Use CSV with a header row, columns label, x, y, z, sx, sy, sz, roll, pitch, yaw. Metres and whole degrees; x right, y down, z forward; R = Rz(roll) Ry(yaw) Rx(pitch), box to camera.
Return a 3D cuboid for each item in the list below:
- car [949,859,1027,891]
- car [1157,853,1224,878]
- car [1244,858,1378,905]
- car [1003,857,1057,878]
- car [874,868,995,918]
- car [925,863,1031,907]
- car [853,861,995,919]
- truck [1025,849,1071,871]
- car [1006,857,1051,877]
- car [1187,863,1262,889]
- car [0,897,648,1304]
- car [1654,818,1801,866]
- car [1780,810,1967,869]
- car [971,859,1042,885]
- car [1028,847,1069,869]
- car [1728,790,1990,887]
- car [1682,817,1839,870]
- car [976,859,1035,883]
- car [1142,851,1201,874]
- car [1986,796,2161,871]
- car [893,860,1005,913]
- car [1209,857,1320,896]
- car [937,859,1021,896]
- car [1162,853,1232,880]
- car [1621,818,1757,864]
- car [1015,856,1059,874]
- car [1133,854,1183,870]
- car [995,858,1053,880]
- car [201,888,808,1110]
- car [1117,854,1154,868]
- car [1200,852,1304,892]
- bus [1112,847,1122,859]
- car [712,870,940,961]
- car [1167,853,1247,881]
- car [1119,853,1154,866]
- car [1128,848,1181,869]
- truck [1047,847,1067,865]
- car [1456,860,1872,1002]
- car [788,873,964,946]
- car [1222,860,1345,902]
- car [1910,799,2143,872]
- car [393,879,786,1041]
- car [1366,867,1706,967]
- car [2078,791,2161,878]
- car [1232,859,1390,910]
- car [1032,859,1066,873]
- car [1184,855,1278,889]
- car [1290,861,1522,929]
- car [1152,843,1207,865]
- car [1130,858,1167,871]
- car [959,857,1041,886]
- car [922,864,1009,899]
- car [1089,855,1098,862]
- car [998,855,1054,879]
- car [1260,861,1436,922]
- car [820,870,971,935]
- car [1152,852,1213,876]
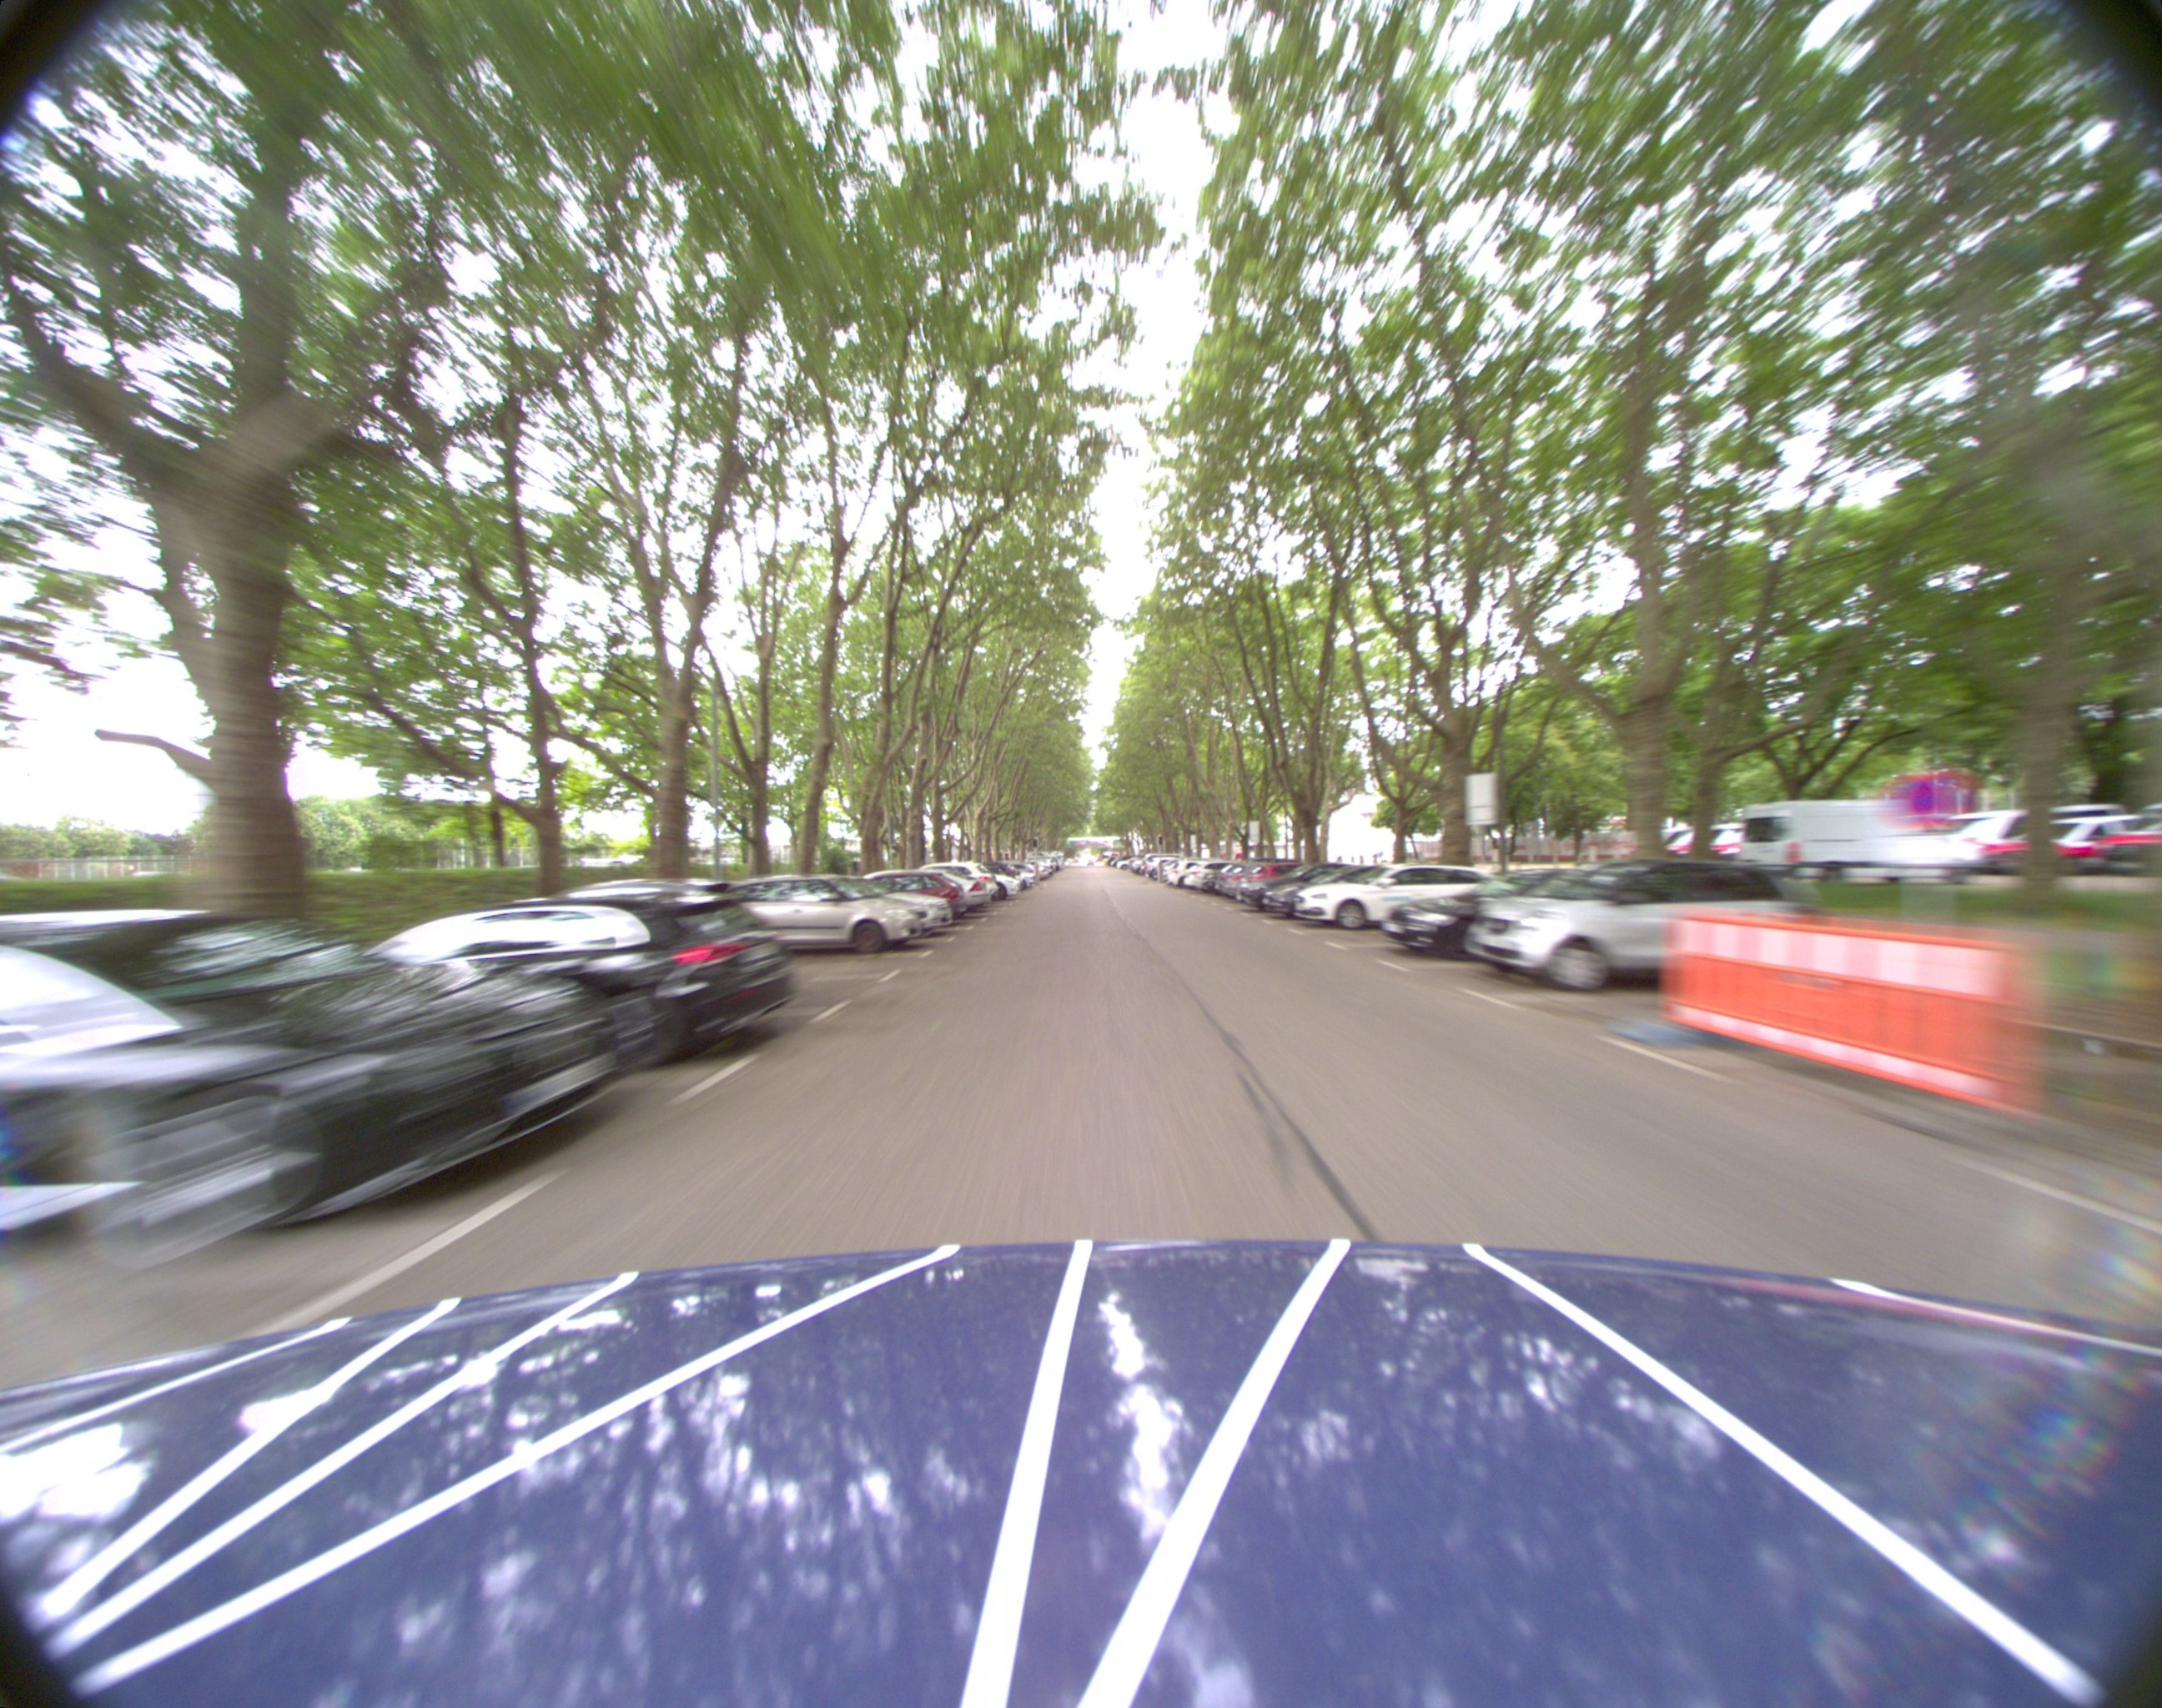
label,x,y,z,sx,sy,sz,roll,pitch,yaw
car,-4.720,1.066,38.977,3.786,1.461,1.623,-2,0,-3
car,7.021,0.718,49.031,4.054,1.599,1.694,0,1,-3
car,7.258,0.855,24.245,3.835,1.421,1.695,0,0,4
car,-4.057,1.072,61.226,4.222,1.443,1.610,-2,0,-1
car,-4.731,1.255,24.867,3.655,1.401,1.519,-2,0,-3
car,-4.206,1.247,31.579,4.178,1.587,1.854,-2,0,-3
car,-4.408,1.001,21.786,3.655,1.415,1.985,-2,0,-3
truck,-4.636,0.829,106.929,6.309,2.699,2.098,-2,0,2
car,-4.568,1.145,66.615,3.837,1.598,1.694,-2,0,-1
car,6.942,1.048,36.974,3.325,1.195,1.584,0,0,-3
car,-5.216,1.140,3.997,4.671,1.443,1.926,-3,0,-1
car,34.082,-0.607,40.194,6.017,2.239,2.000,-2,0,0
car,34.363,-0.602,33.065,6.017,2.227,2.000,-2,0,0
car,-4.785,1.132,49.072,4.377,1.461,1.624,-2,0,0
car,-4.330,0.510,101.585,5.241,2.673,1.957,-3,0,1
car,23.497,-0.436,23.121,5.800,2.582,2.000,-2,0,1
car,33.922,-0.515,38.059,6.017,2.304,2.000,-2,0,0
car,-5.163,1.153,52.151,3.785,1.461,1.667,-2,0,0
car,6.408,0.570,54.231,4.077,1.598,1.799,0,0,3
car,34.696,-0.702,25.586,6.017,2.292,2.000,-2,0,0
car,-4.604,1.107,26.800,3.655,1.657,1.519,-2,0,-3
car,6.994,0.846,29.204,3.837,1.421,1.802,0,0,-1
car,-4.865,1.104,36.712,3.786,1.588,1.820,-2,0,-3
car,6.840,0.734,44.899,3.837,1.598,1.694,0,0,-3
car,34.093,-0.703,42.720,6.017,2.239,2.000,-2,0,0
car,-4.570,1.147,79.748,4.394,1.745,1.801,-3,0,3
car,6.941,0.728,68.888,4.458,1.444,1.775,0,0,4
car,-4.189,1.095,56.521,4.124,1.461,1.694,-2,0,0
car,-4.615,1.124,6.514,3.929,1.443,1.555,-2,0,-1
car,8.224,1.023,115.264,5.450,2.115,1.940,0,-1,-1
car,7.031,0.732,31.499,3.838,1.599,1.858,0,0,-3
bus,10.053,-0.313,214.399,2.658,3.136,12.370,1,0,2
car,-4.620,1.097,14.158,3.688,1.415,1.519,-2,0,-2
car,6.462,0.668,39.277,3.837,1.421,1.694,0,0,-3
car,7.066,0.720,97.183,4.391,1.587,2.000,0,0,-2
car,7.167,0.455,73.970,4.907,2.007,1.919,0,0,-3
truck,-4.080,0.391,129.632,2.466,2.920,7.533,-2,0,-8
car,6.896,0.860,9.259,3.837,1.545,1.694,0,0,-3
car,-4.535,1.221,17.016,3.431,1.415,1.520,-2,0,11
car,7.004,0.931,26.534,3.837,1.421,1.694,0,0,-3
car,34.564,-0.645,27.889,6.017,2.316,2.000,-2,0,0
car,-5.451,1.137,8.749,3.434,1.499,1.555,-2,0,-1
car,6.949,0.925,11.886,4.345,1.421,1.694,0,0,-3
car,34.225,-0.692,22.759,6.017,2.512,2.000,-2,0,0
car,6.574,0.858,21.943,4.032,1.421,1.694,0,0,-3
car,-4.084,1.504,96.489,4.129,1.420,1.703,-4,1,2
car,6.712,0.798,34.240,3.837,1.488,1.694,0,0,-3
car,7.059,0.870,16.841,4.412,1.421,1.694,0,0,1
car,7.304,-0.009,56.652,3.837,1.618,1.952,0,0,-3
car,7.572,1.186,85.872,3.998,1.467,1.842,1,0,-2
car,-4.334,0.957,41.170,4.309,1.461,1.623,1,0,-3
car,-5.139,1.218,34.045,3.655,1.363,1.519,-2,0,-3
car,2.743,0.997,165.450,1.693,1.462,3.839,0,0,-1
car,-4.216,1.025,58.999,4.123,1.660,1.694,-2,0,1
car,6.640,0.925,19.169,3.837,1.421,1.694,0,1,-3
car,-4.618,1.200,19.272,3.434,1.415,1.519,-2,0,-3
car,6.835,0.676,51.325,3.837,1.598,1.834,0,0,-3
